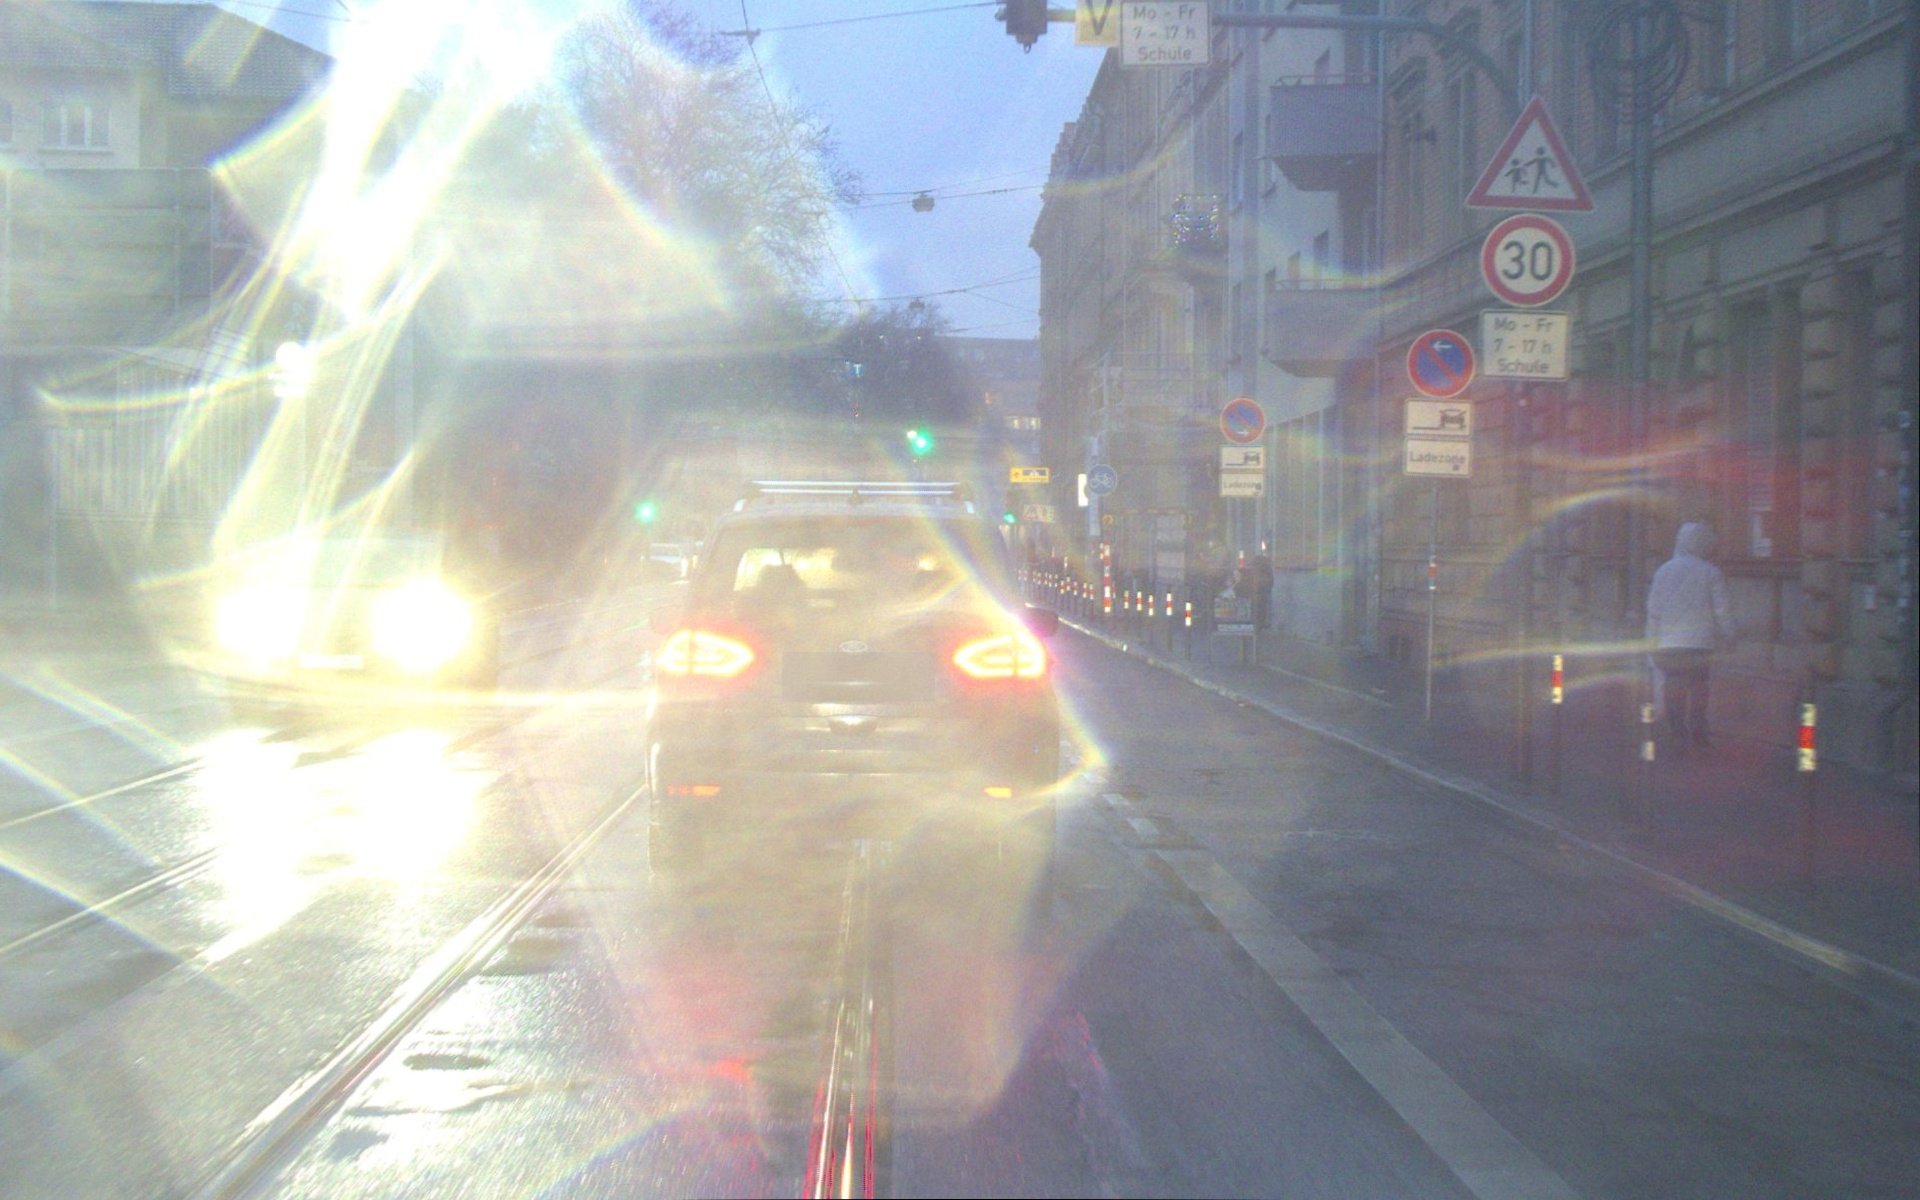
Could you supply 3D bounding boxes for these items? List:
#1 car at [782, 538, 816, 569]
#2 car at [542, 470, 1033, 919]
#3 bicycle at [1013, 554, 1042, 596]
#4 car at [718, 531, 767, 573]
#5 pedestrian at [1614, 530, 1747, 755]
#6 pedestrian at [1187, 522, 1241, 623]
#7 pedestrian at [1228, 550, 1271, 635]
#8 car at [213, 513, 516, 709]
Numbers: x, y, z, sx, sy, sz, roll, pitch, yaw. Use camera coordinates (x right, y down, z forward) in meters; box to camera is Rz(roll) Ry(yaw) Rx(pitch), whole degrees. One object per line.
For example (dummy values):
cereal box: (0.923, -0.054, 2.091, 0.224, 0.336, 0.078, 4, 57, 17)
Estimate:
car: (-7.862, -2.290, 168.422, 1.530, 1.476, 3.561, 1, 1, -1)
car: (-0.679, 0.364, 16.331, 1.993, 1.835, 4.000, 1, 1, 2)
bicycle: (1.867, -0.694, 95.238, 0.684, 1.152, 2.188, 1, 0, -1)
car: (-8.956, -2.005, 141.897, 1.875, 1.704, 4.761, 0, 1, -2)
pedestrian: (5.205, 0.297, 24.875, 0.786, 1.592, 0.742, 1, 1, 0)
pedestrian: (4.568, -0.497, 61.885, 0.598, 1.812, 0.776, 1, 0, -28)
pedestrian: (4.727, -0.124, 56.203, 0.600, 1.372, 0.728, 1, 0, -1)
car: (-5.119, 0.051, 30.109, 1.841, 1.573, 4.442, 1, 1, 0)
